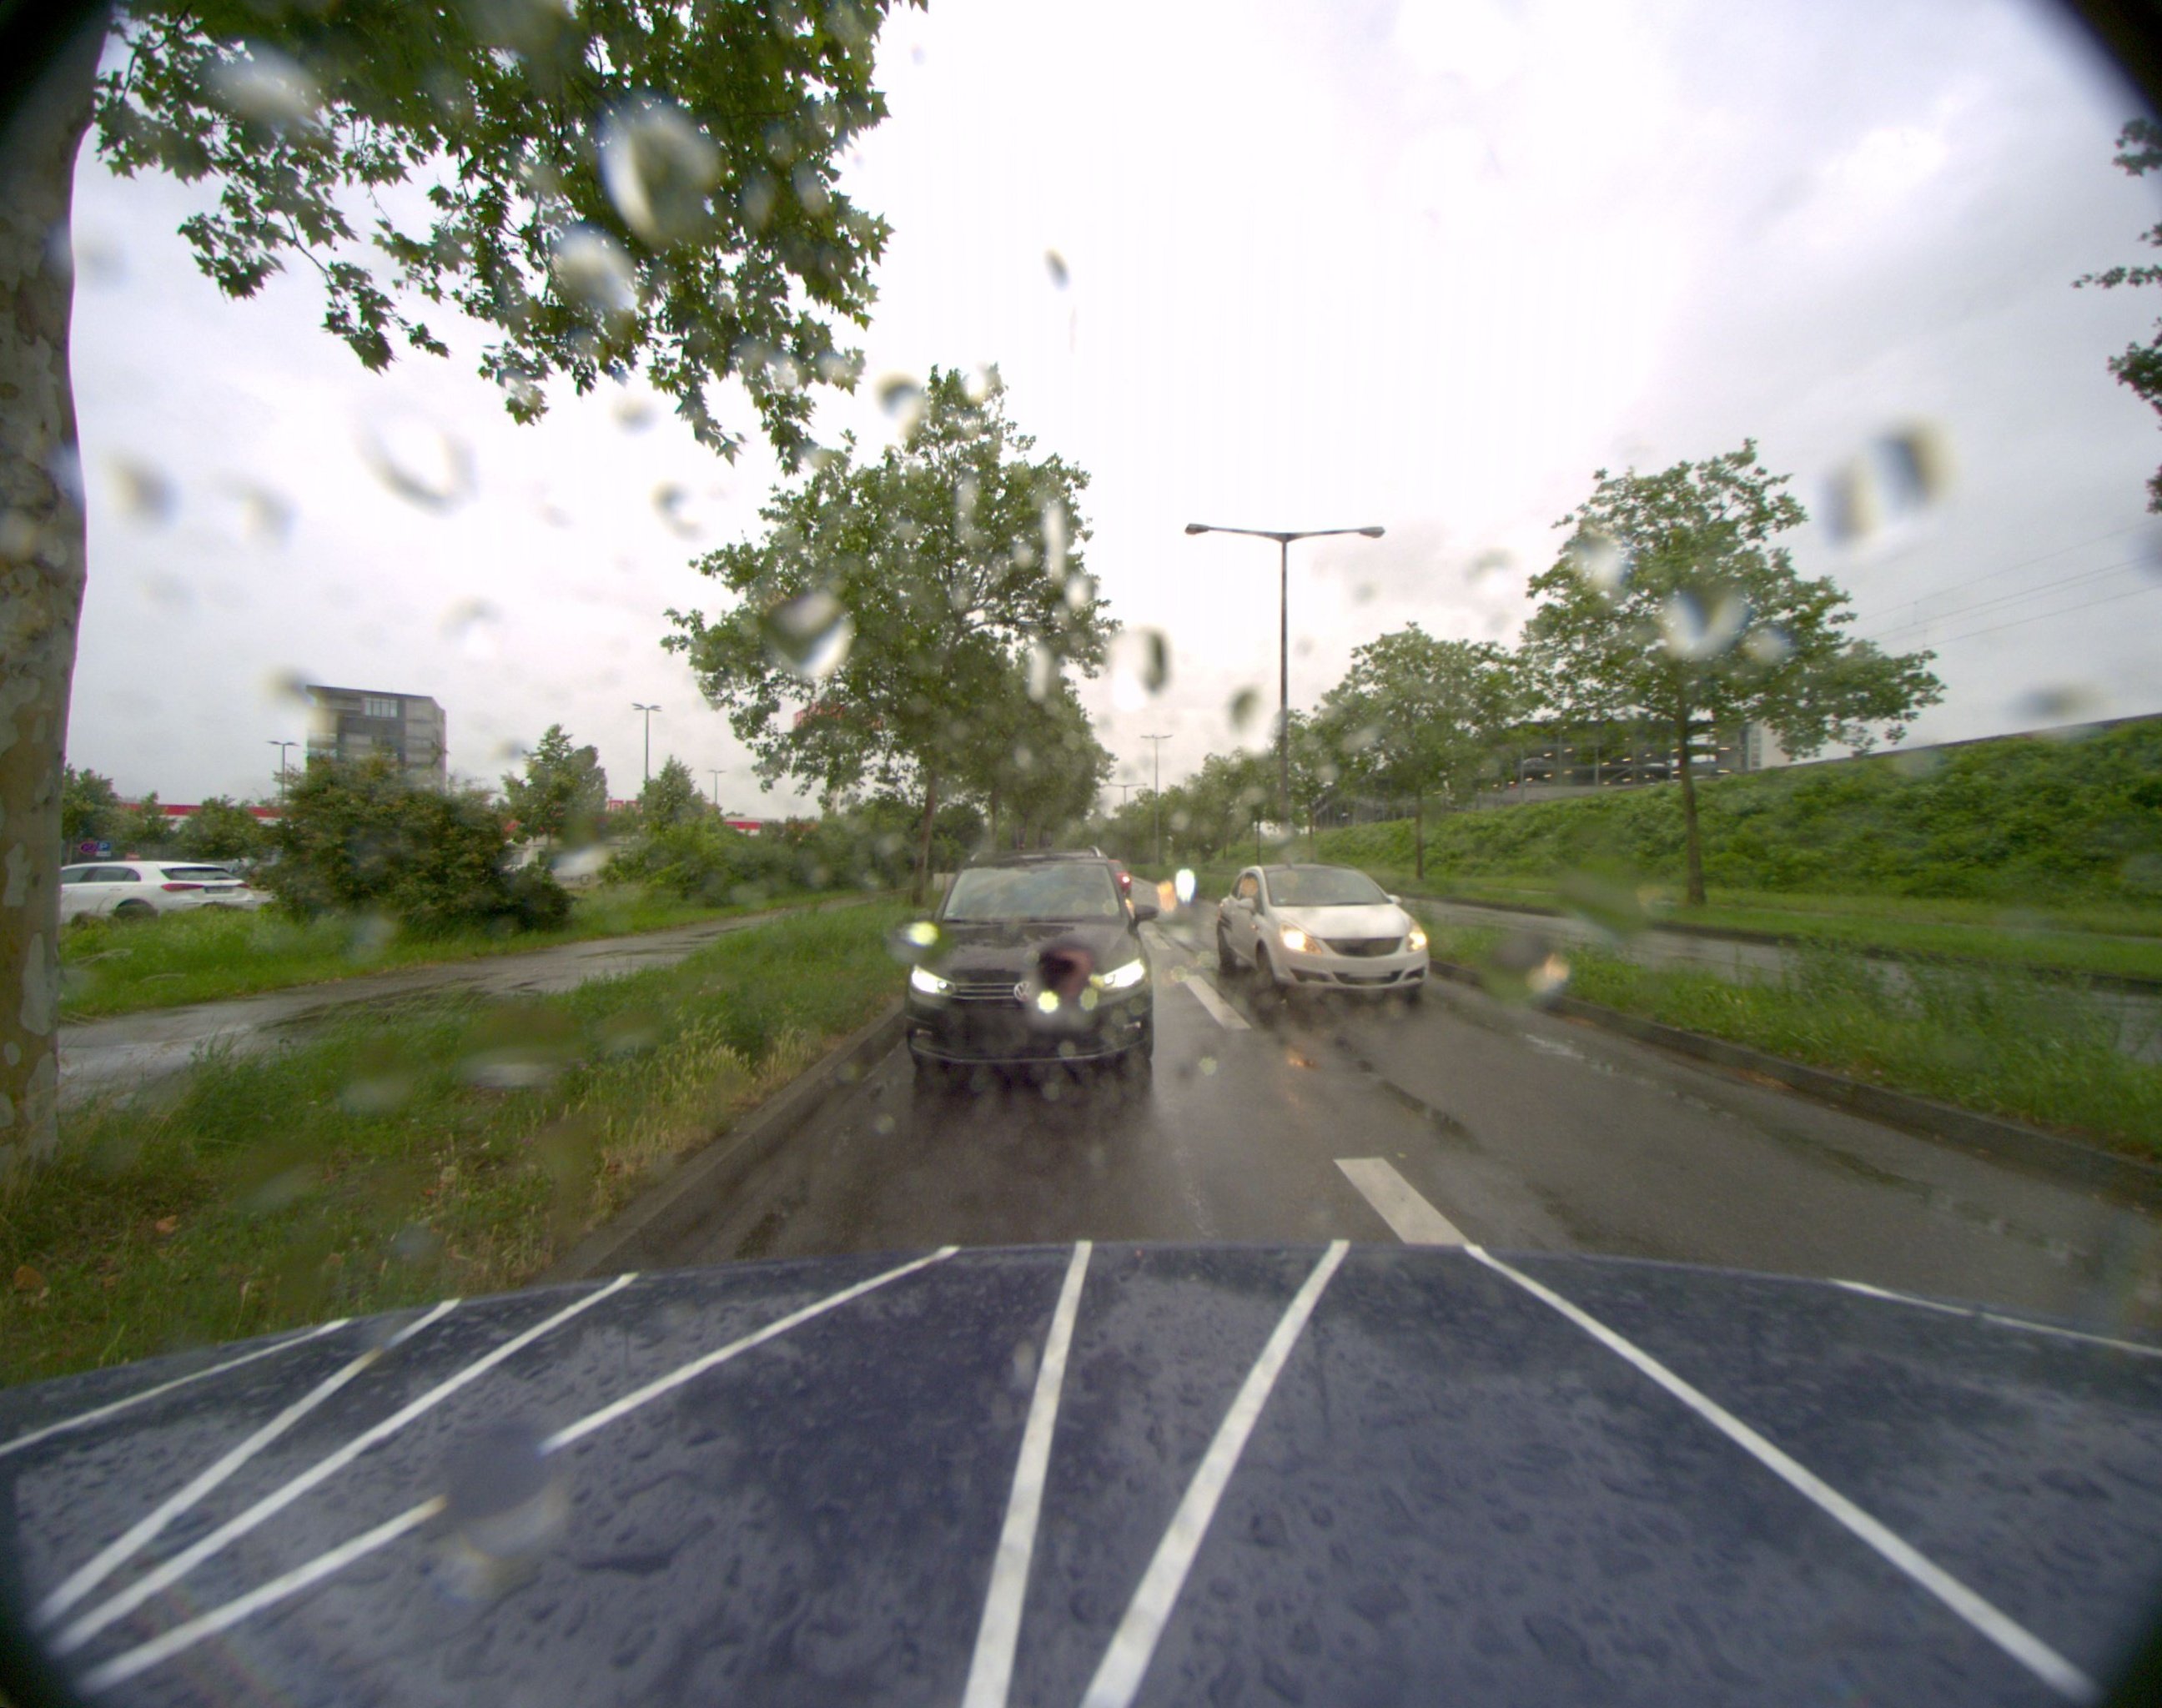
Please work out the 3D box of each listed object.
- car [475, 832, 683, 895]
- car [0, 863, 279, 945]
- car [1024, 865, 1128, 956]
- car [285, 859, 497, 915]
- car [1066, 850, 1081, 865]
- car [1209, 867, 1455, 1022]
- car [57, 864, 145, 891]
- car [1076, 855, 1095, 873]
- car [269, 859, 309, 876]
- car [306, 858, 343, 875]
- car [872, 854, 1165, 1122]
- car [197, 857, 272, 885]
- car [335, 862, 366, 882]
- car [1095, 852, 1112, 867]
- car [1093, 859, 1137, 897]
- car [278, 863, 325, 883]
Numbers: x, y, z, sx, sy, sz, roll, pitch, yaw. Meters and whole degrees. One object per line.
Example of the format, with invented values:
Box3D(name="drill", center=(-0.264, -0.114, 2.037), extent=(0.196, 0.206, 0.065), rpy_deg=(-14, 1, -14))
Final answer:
Box3D(name="car", center=(-19.657, 0.363, 30.080), extent=(6.425, 2.349, 2.390), rpy_deg=(0, 0, -8))
Box3D(name="car", center=(-19.785, 0.968, 15.660), extent=(4.272, 1.543, 1.929), rpy_deg=(0, 0, -4))
Box3D(name="car", center=(-0.085, 1.004, 15.124), extent=(1.724, 1.456, 4.092), rpy_deg=(-2, 0, 0))
Box3D(name="car", center=(-19.938, 0.926, 22.131), extent=(4.272, 1.543, 1.929), rpy_deg=(0, 0, -4))
Box3D(name="car", center=(-1.068, 0.473, 109.997), extent=(1.998, 2.002, 5.131), rpy_deg=(-2, 1, 0))
Box3D(name="car", center=(2.743, 0.903, 9.286), extent=(1.683, 1.368, 4.011), rpy_deg=(-2, 0, 1))
Box3D(name="car", center=(-61.913, 1.443, 48.097), extent=(1.933, 1.543, 4.263), rpy_deg=(0, 0, -30))
Box3D(name="car", center=(0.481, 0.993, 78.335), extent=(1.831, 1.737, 4.147), rpy_deg=(-2, 0, 0))
Box3D(name="car", center=(-80.568, 1.341, 77.337), extent=(2.006, 1.667, 4.262), rpy_deg=(0, 0, -35))
Box3D(name="car", center=(-78.458, 1.242, 78.868), extent=(2.006, 1.667, 4.262), rpy_deg=(0, 0, -35))
Box3D(name="car", center=(-0.430, 0.835, 7.068), extent=(1.771, 1.596, 4.626), rpy_deg=(-2, 0, -1))
Box3D(name="car", center=(-49.981, 0.986, 44.967), extent=(1.933, 1.543, 4.262), rpy_deg=(0, 0, -33))
Box3D(name="car", center=(-68.133, 1.651, 70.905), extent=(2.007, 1.667, 4.261), rpy_deg=(0, 0, -43))
Box3D(name="car", center=(2.653, 0.643, 89.746), extent=(1.831, 1.602, 4.147), rpy_deg=(-2, 0, 0))
Box3D(name="car", center=(1.409, 0.981, 32.470), extent=(1.724, 1.456, 4.092), rpy_deg=(-2, 0, 1))
Box3D(name="car", center=(-67.273, 1.606, 65.606), extent=(2.006, 1.667, 4.262), rpy_deg=(0, 0, -34))
